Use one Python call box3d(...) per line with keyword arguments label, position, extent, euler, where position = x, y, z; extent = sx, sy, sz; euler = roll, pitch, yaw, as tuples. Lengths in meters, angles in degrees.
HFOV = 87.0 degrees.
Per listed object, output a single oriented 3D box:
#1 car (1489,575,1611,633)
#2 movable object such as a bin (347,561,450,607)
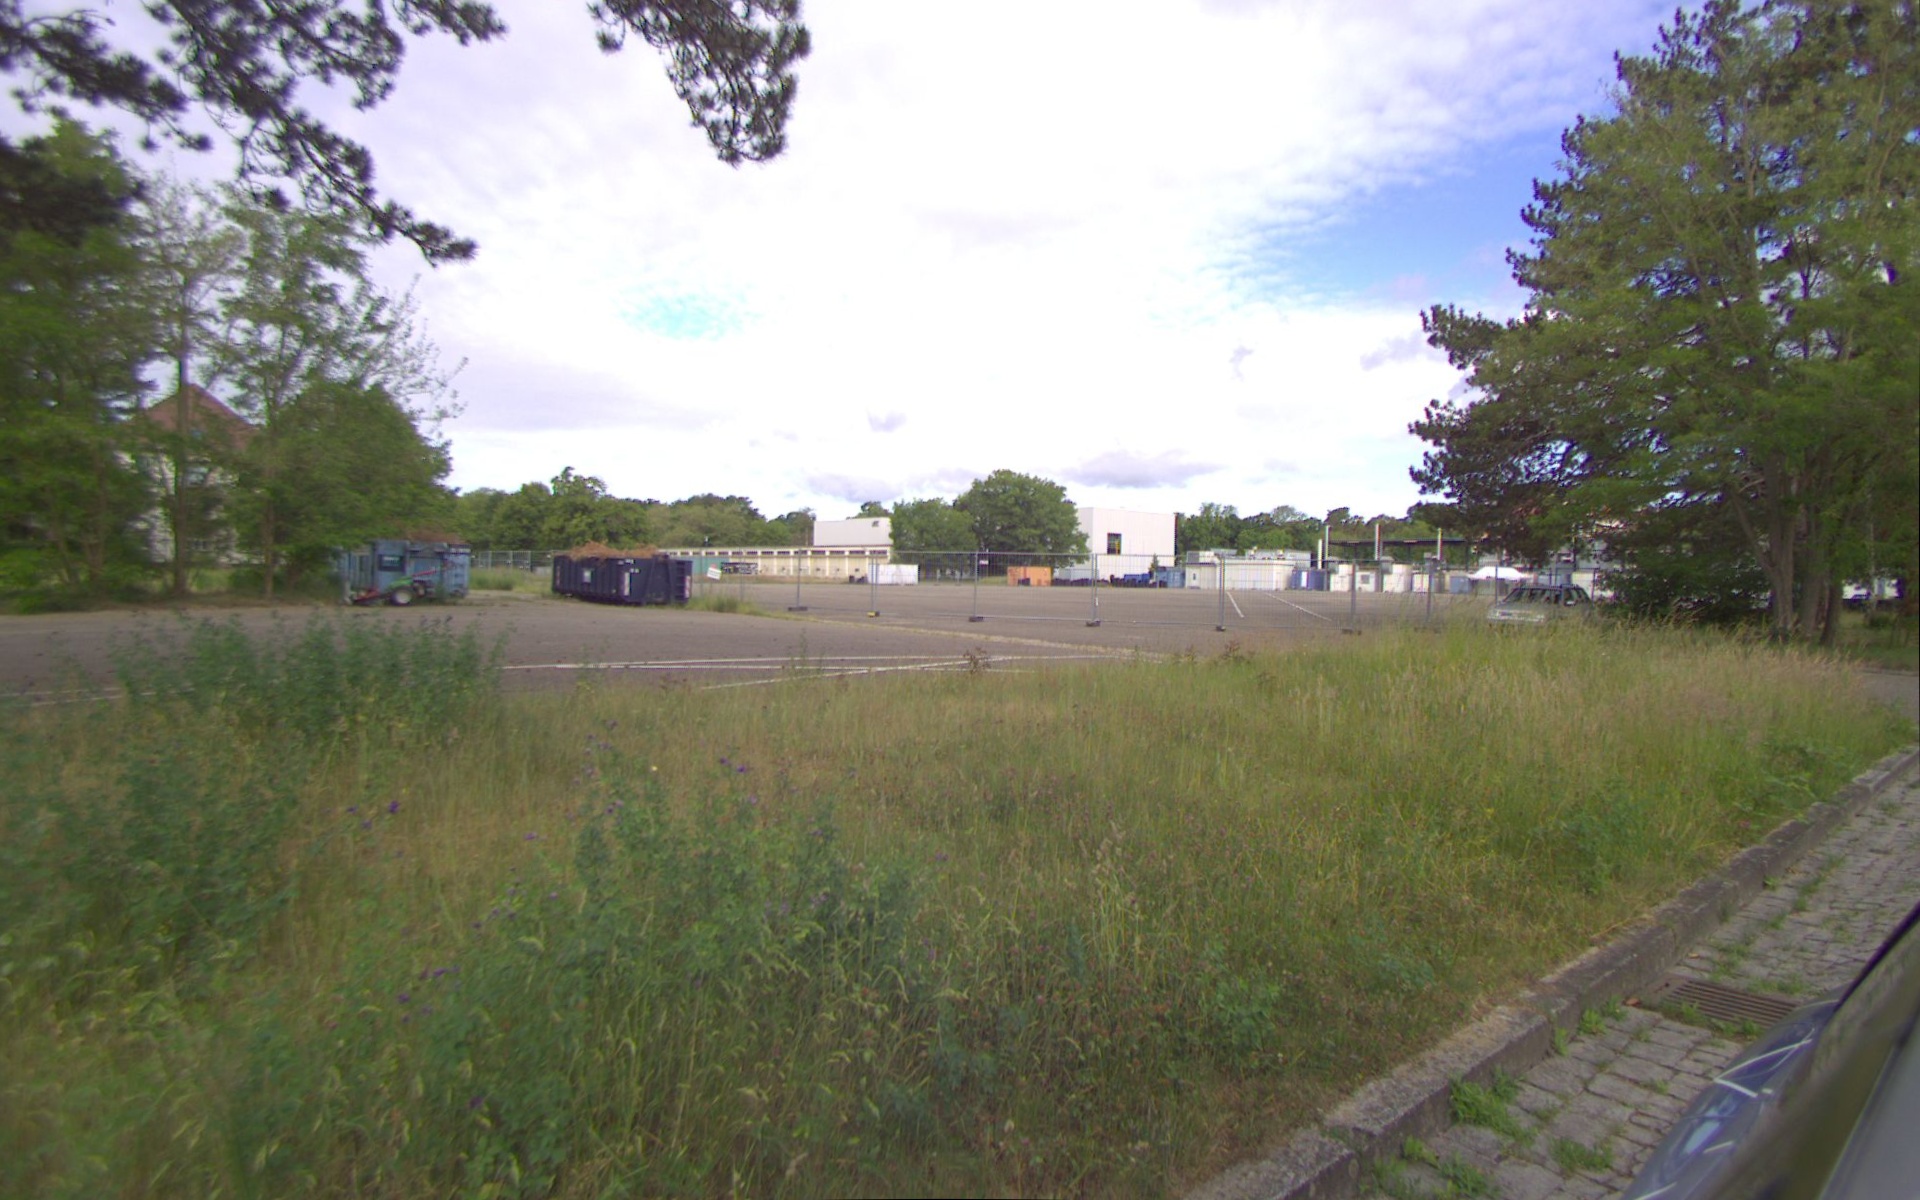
box3d(label="car", position=(16.213, 0.055, 27.721), extent=(4.414, 1.468, 1.676), euler=(-1, 2, -43))
box3d(label="movable object such as a bin", position=(-14.678, -0.418, 26.508), extent=(0.959, 1.148, 2.181), euler=(0, 1, 41))
